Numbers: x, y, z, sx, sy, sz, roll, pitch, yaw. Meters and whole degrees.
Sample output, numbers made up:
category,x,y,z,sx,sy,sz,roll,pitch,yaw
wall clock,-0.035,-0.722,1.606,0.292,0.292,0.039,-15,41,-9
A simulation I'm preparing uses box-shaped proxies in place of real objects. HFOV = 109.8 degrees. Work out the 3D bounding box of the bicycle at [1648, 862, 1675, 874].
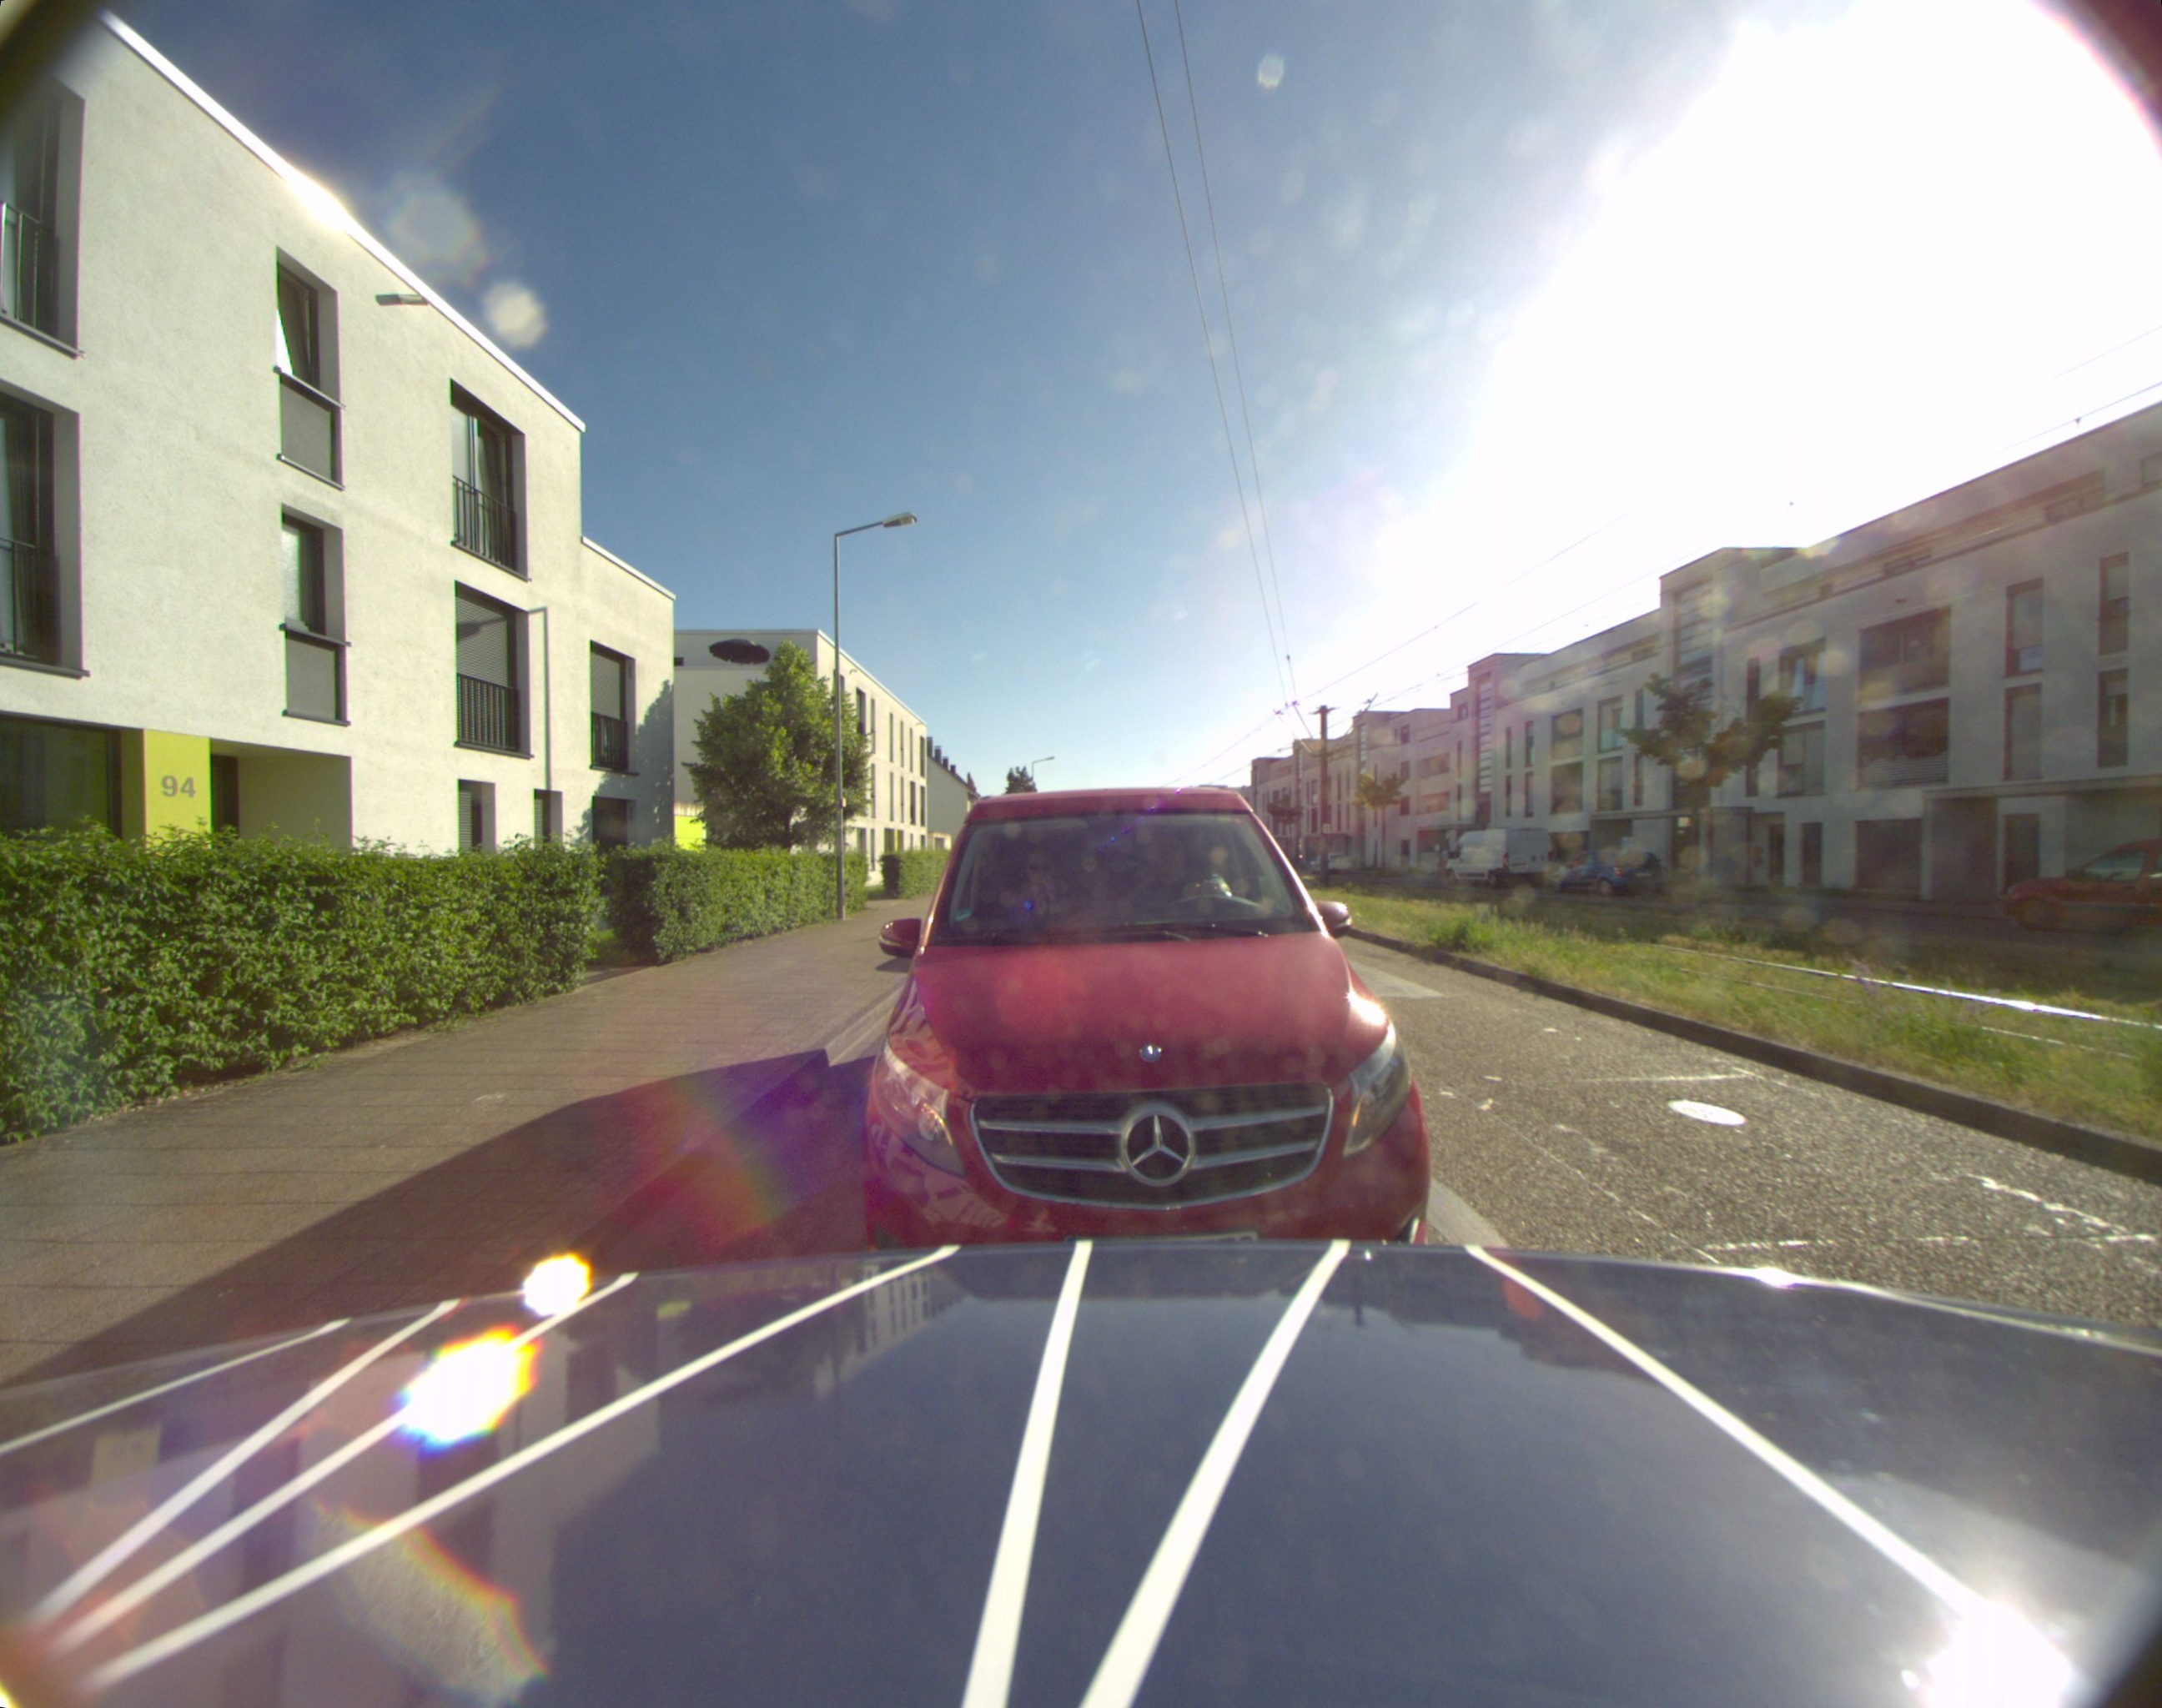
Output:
category,x,y,z,sx,sy,sz,roll,pitch,yaw
bicycle,24.984,0.605,32.714,0.354,0.495,1.061,0,0,-1

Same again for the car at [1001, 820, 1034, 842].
category,x,y,z,sx,sy,sz,roll,pitch,yaw
car,-7.349,-2.600,88.601,3.182,2.333,6.174,-2,1,1

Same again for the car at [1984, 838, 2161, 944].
category,x,y,z,sx,sy,sz,roll,pitch,yaw
car,18.466,0.610,12.822,1.793,1.713,3.908,1,1,1

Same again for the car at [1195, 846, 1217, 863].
category,x,y,z,sx,sy,sz,roll,pitch,yaw
car,15.377,0.089,93.849,1.788,2.002,3.998,-2,1,-4

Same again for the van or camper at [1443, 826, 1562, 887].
category,x,y,z,sx,sy,sz,roll,pitch,yaw
van or camper,18.184,0.065,33.134,2.197,2.450,5.259,0,1,0

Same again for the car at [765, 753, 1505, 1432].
category,x,y,z,sx,sy,sz,roll,pitch,yaw
car,0.197,0.708,4.800,2.127,1.958,5.083,-2,0,1

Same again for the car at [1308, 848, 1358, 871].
category,x,y,z,sx,sy,sz,roll,pitch,yaw
car,17.745,0.379,53.713,2.047,1.577,4.120,0,1,-3

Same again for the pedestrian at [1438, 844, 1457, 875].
category,x,y,z,sx,sy,sz,roll,pitch,yaw
pedestrian,19.794,0.311,41.028,0.619,1.634,0.612,-2,1,-7

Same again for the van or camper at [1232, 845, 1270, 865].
category,x,y,z,sx,sy,sz,roll,pitch,yaw
van or camper,16.758,0.059,75.199,2.273,1.838,6.284,-1,1,-1

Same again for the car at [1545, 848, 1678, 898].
category,x,y,z,sx,sy,sz,roll,pitch,yaw
car,18.250,0.592,26.386,1.934,1.604,3.835,0,1,0

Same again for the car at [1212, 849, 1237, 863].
category,x,y,z,sx,sy,sz,roll,pitch,yaw
car,16.290,0.208,86.430,1.867,1.430,3.496,-2,0,-4
